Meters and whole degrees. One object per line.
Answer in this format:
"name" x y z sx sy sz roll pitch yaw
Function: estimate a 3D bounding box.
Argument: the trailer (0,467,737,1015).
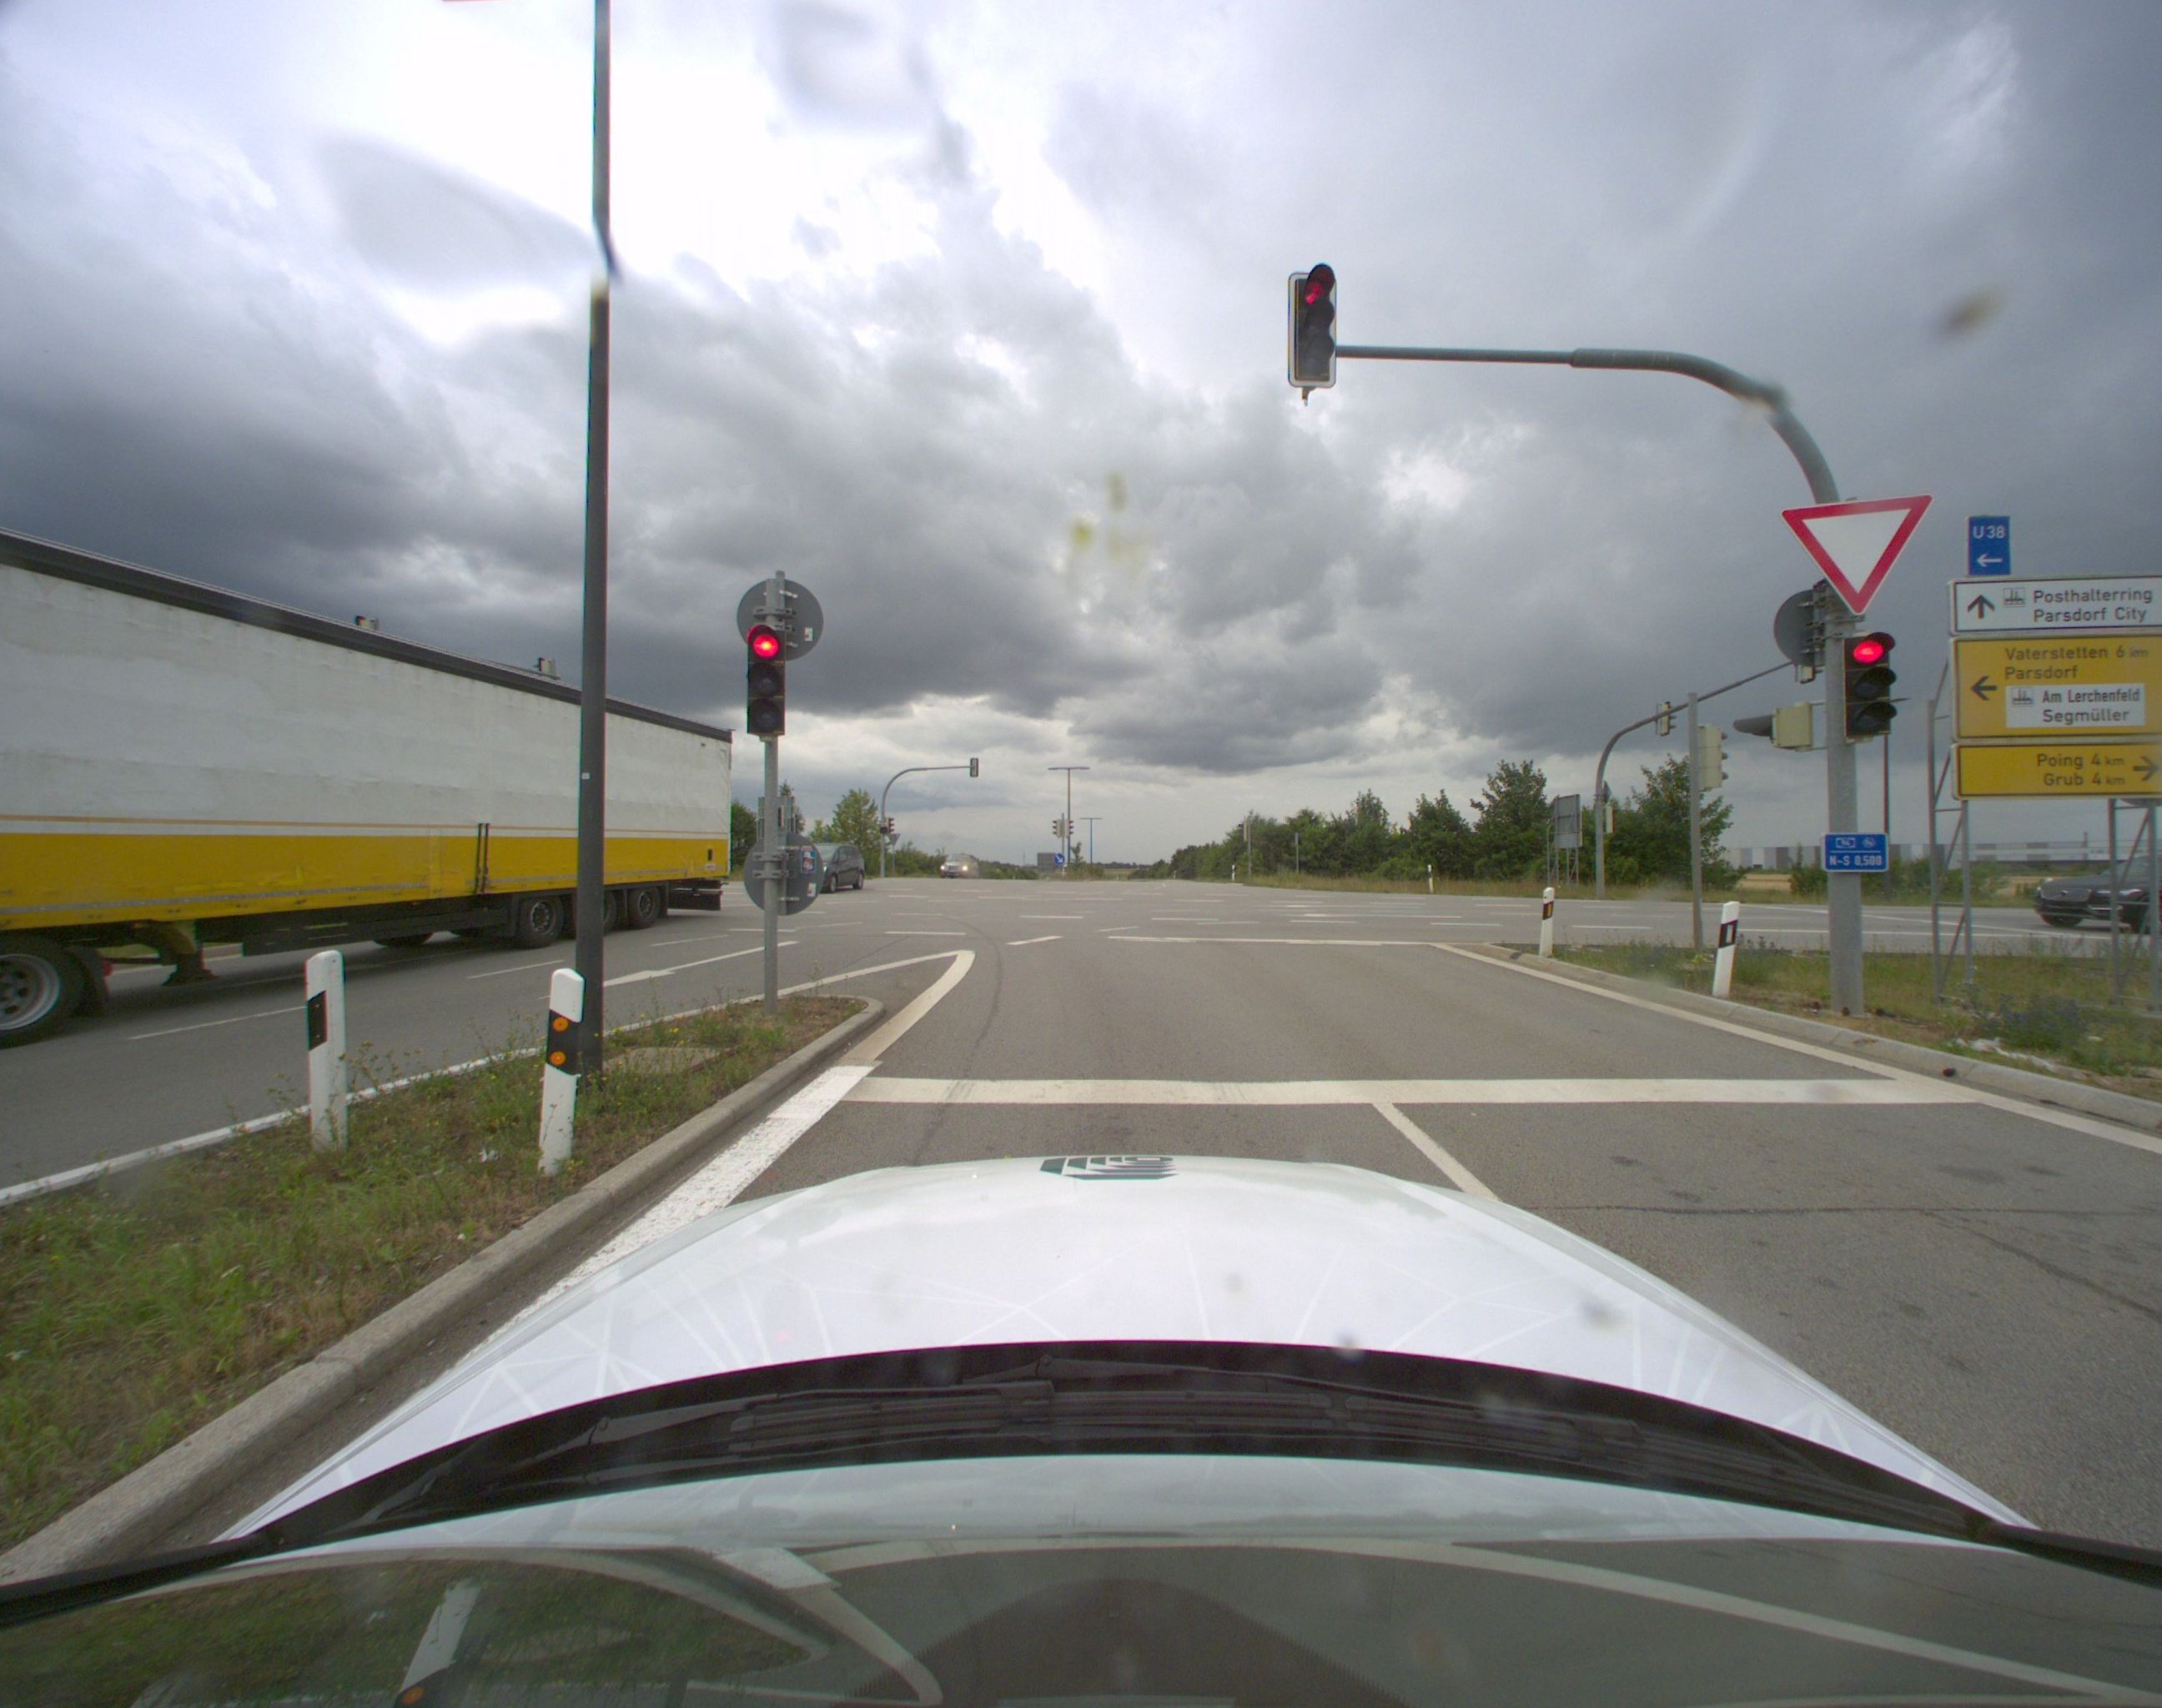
"trailer" -9.355 -0.822 11.168 2.680 4.210 13.852 0 -1 3

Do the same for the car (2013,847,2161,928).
"car" 24.070 0.714 17.643 4.951 1.684 2.006 0 0 10

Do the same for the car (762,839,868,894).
"car" -8.876 0.397 27.598 1.986 1.694 4.457 0 -1 2

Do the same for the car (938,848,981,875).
"car" -7.255 0.424 48.968 1.803 1.520 4.244 0 1 2

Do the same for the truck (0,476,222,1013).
"truck" -9.742 -0.849 4.647 2.638 4.141 6.409 0 -1 3
